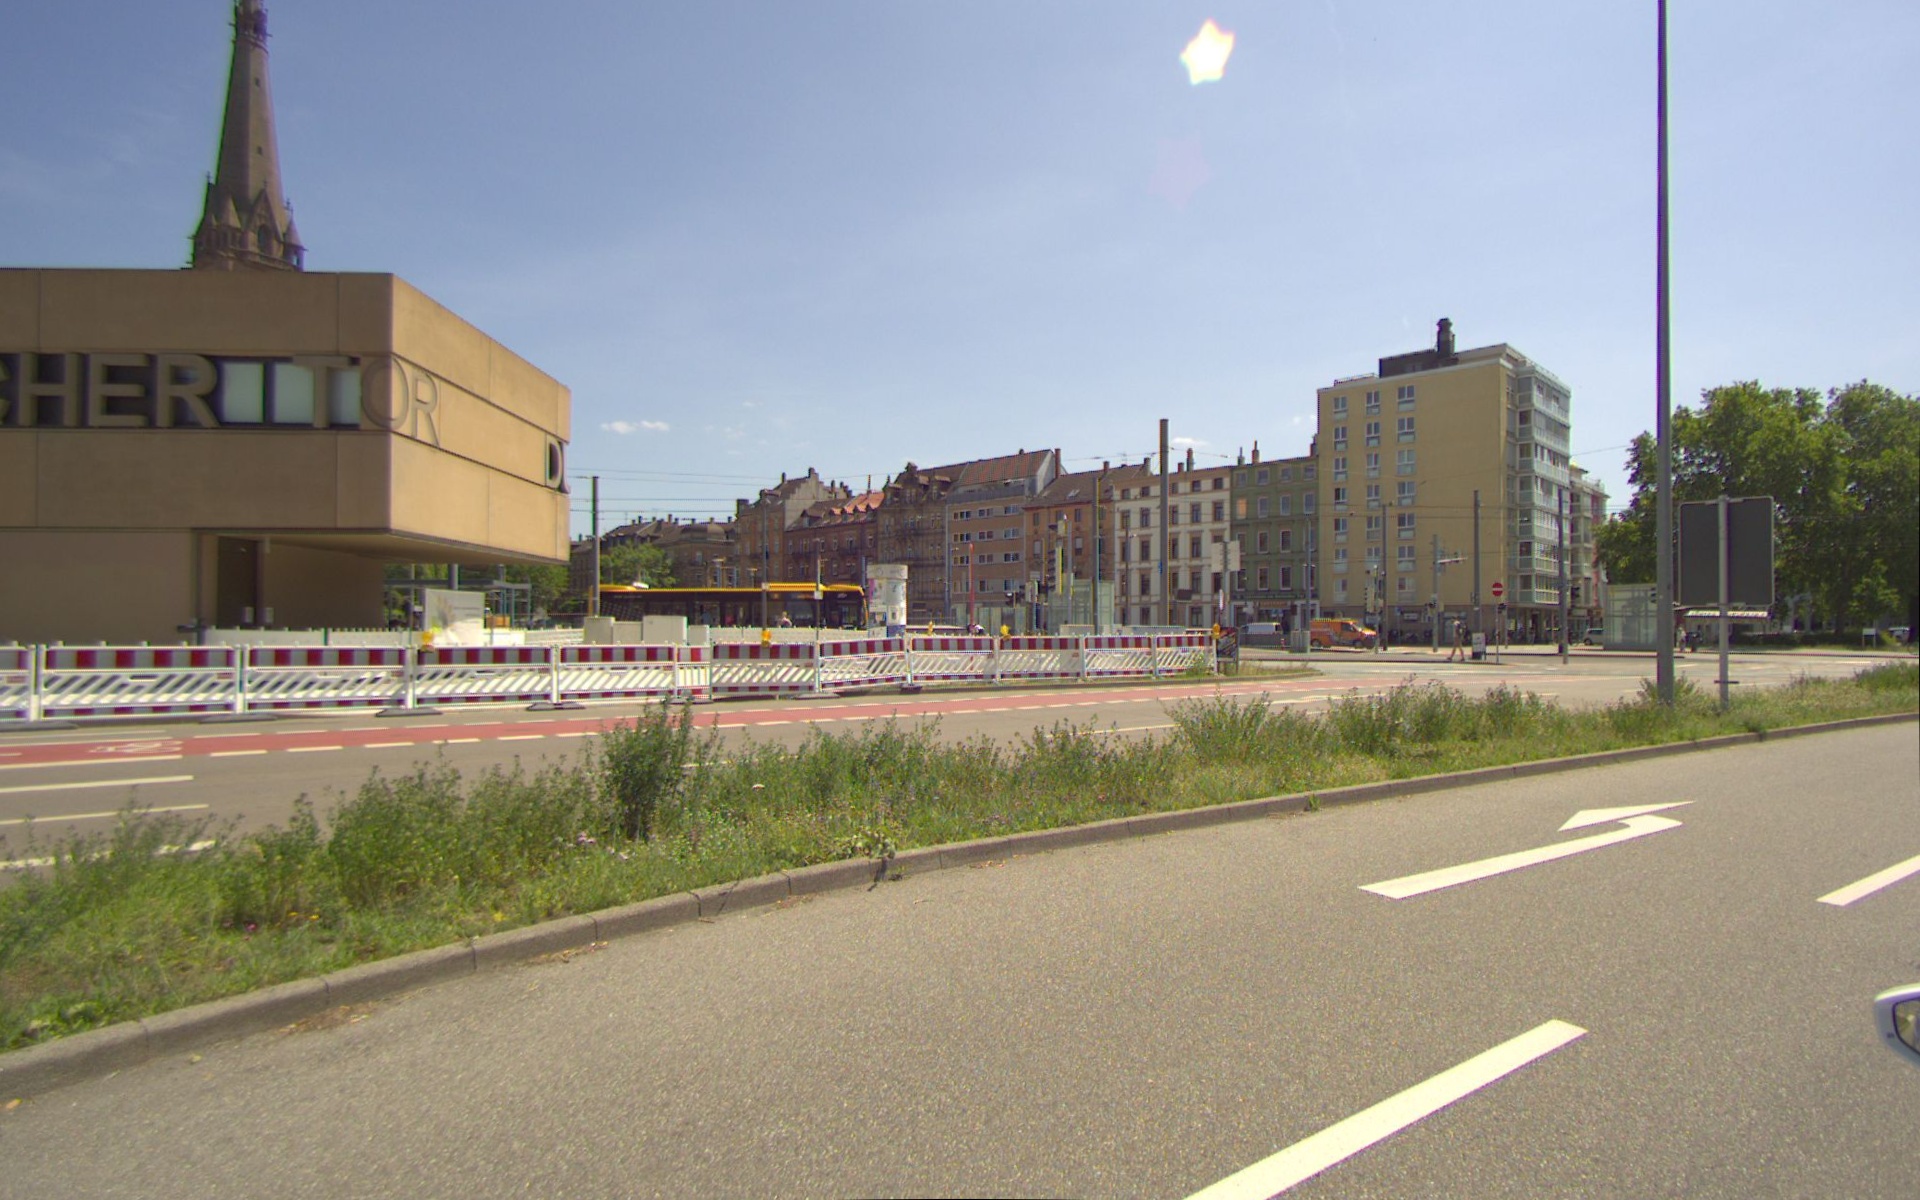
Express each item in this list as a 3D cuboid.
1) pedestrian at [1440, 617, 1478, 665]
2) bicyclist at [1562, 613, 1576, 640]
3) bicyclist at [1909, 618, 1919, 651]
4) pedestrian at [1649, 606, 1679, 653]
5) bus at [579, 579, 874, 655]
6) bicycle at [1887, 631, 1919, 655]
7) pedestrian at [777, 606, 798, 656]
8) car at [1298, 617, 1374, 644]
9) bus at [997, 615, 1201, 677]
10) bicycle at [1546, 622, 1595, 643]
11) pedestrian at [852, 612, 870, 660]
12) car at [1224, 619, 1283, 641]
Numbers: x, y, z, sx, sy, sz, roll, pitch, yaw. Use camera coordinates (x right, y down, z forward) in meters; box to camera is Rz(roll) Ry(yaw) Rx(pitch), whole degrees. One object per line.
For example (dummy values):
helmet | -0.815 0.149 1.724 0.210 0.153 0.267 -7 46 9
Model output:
pedestrian | 21.038 1.705 42.363 0.893 1.959 1.172 -1 1 -34
bicyclist | 48.739 2.128 80.399 0.724 2.134 0.777 -1 1 14
bicyclist | 58.064 2.102 60.779 0.620 1.992 0.840 -1 1 -35
pedestrian | 46.124 1.915 65.813 1.321 2.977 1.208 -1 1 -31
bus | -9.927 0.761 43.966 12.014 3.081 3.739 0 -1 -2
bicycle | 58.050 2.589 60.801 0.664 1.404 2.757 -1 1 -34
pedestrian | -7.104 1.275 41.318 0.650 2.022 0.611 -1 1 12
car | 25.334 2.025 67.752 1.663 1.635 4.580 -1 1 -42
bus | 3.589 1.074 25.102 5.761 1.266 1.236 -1 1 -35
bicycle | 48.814 2.581 80.380 3.257 1.617 0.819 -1 1 16
pedestrian | -4.203 1.519 42.614 0.650 2.022 0.611 -1 1 3
car | 23.811 2.403 81.610 4.260 1.649 1.804 -1 1 43
